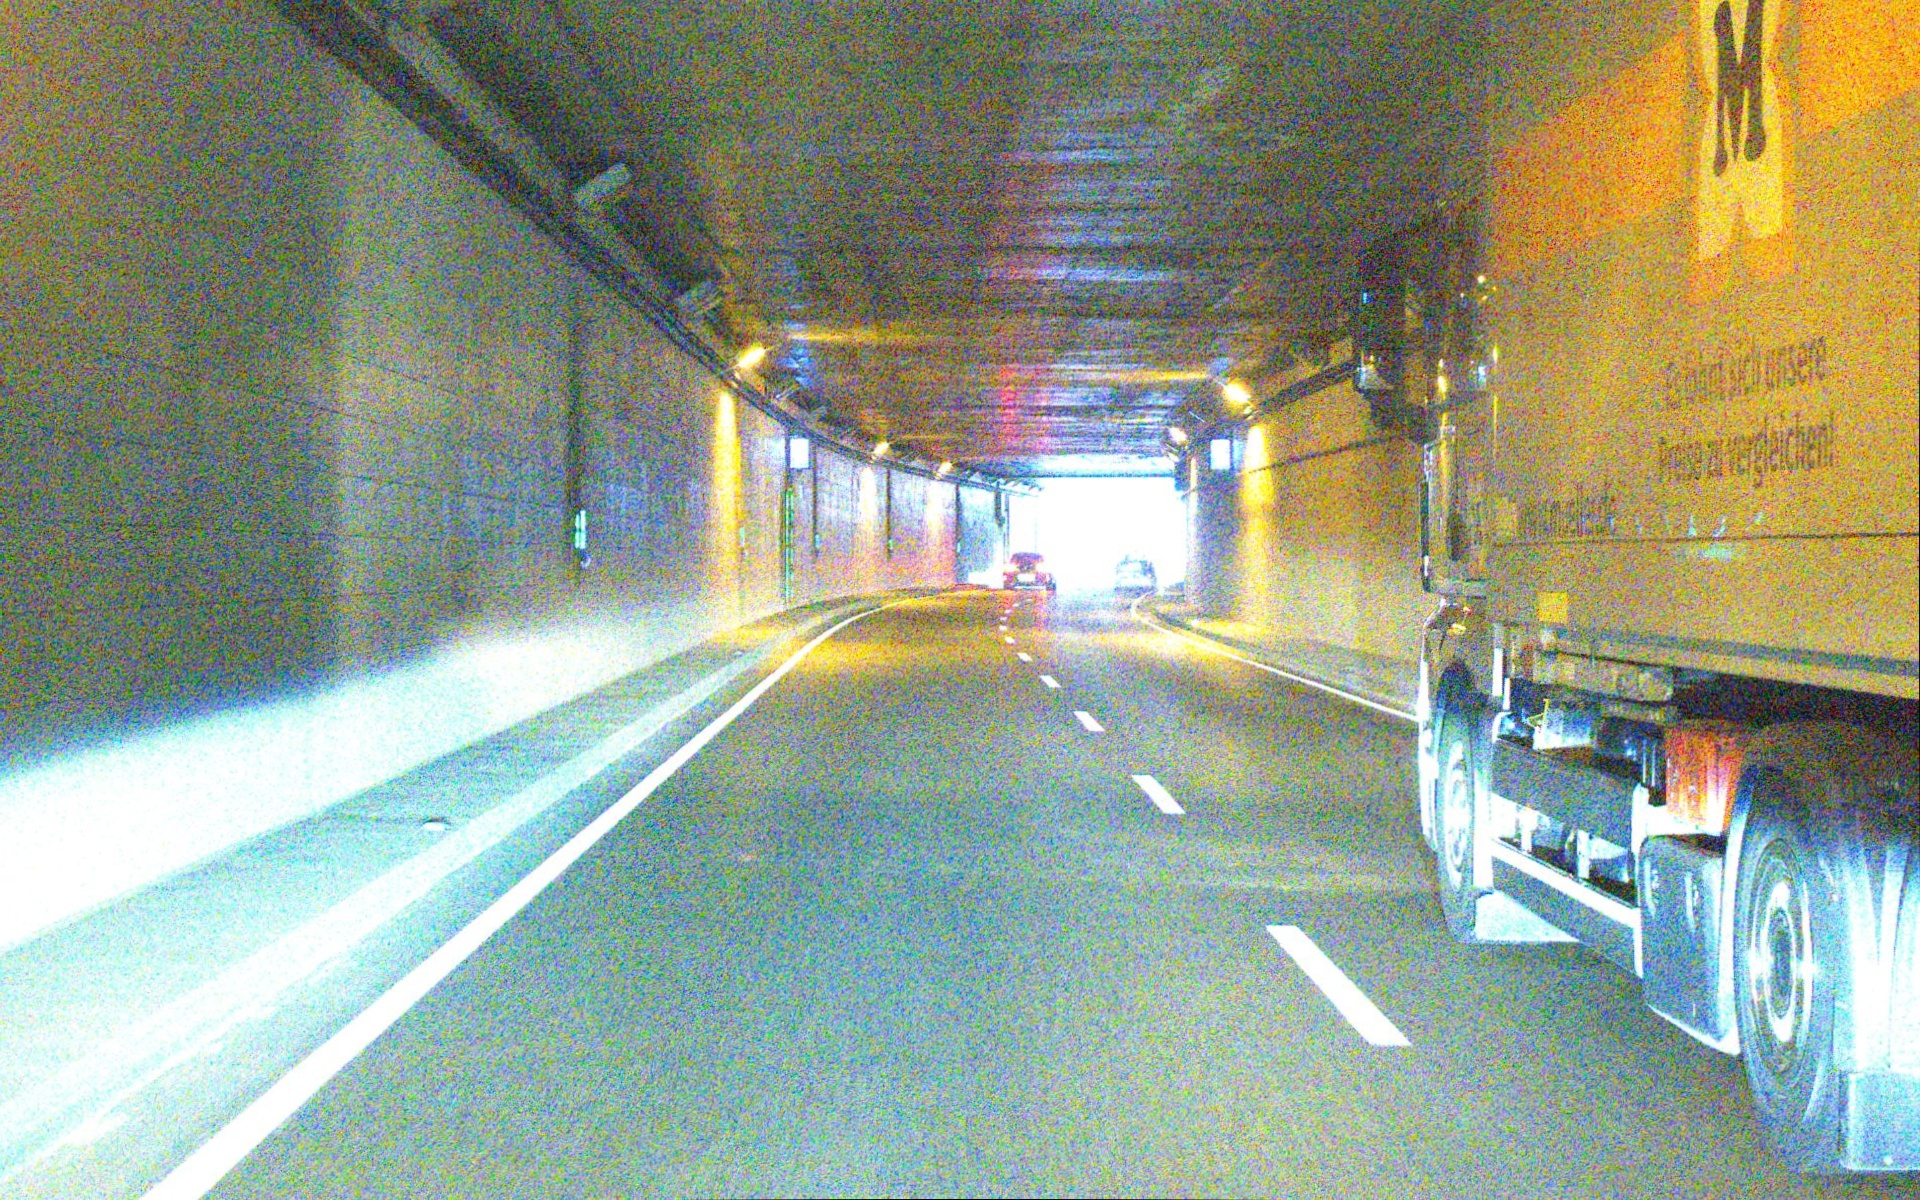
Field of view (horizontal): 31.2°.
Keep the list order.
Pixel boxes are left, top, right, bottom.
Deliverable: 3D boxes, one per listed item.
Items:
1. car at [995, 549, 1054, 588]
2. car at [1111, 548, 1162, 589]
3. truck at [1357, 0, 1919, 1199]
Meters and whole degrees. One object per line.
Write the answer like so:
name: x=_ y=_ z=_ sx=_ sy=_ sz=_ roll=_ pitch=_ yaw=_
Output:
car: x=2.421 y=-1.172 z=127.897 sx=1.841 sy=1.384 sz=3.999 roll=1 pitch=0 yaw=6
car: x=7.567 y=-1.336 z=147.171 sx=1.870 sy=1.726 sz=3.999 roll=1 pitch=0 yaw=7
truck: x=3.185 y=-0.590 z=9.523 sx=2.889 sy=3.900 sz=9.909 roll=1 pitch=1 yaw=0
